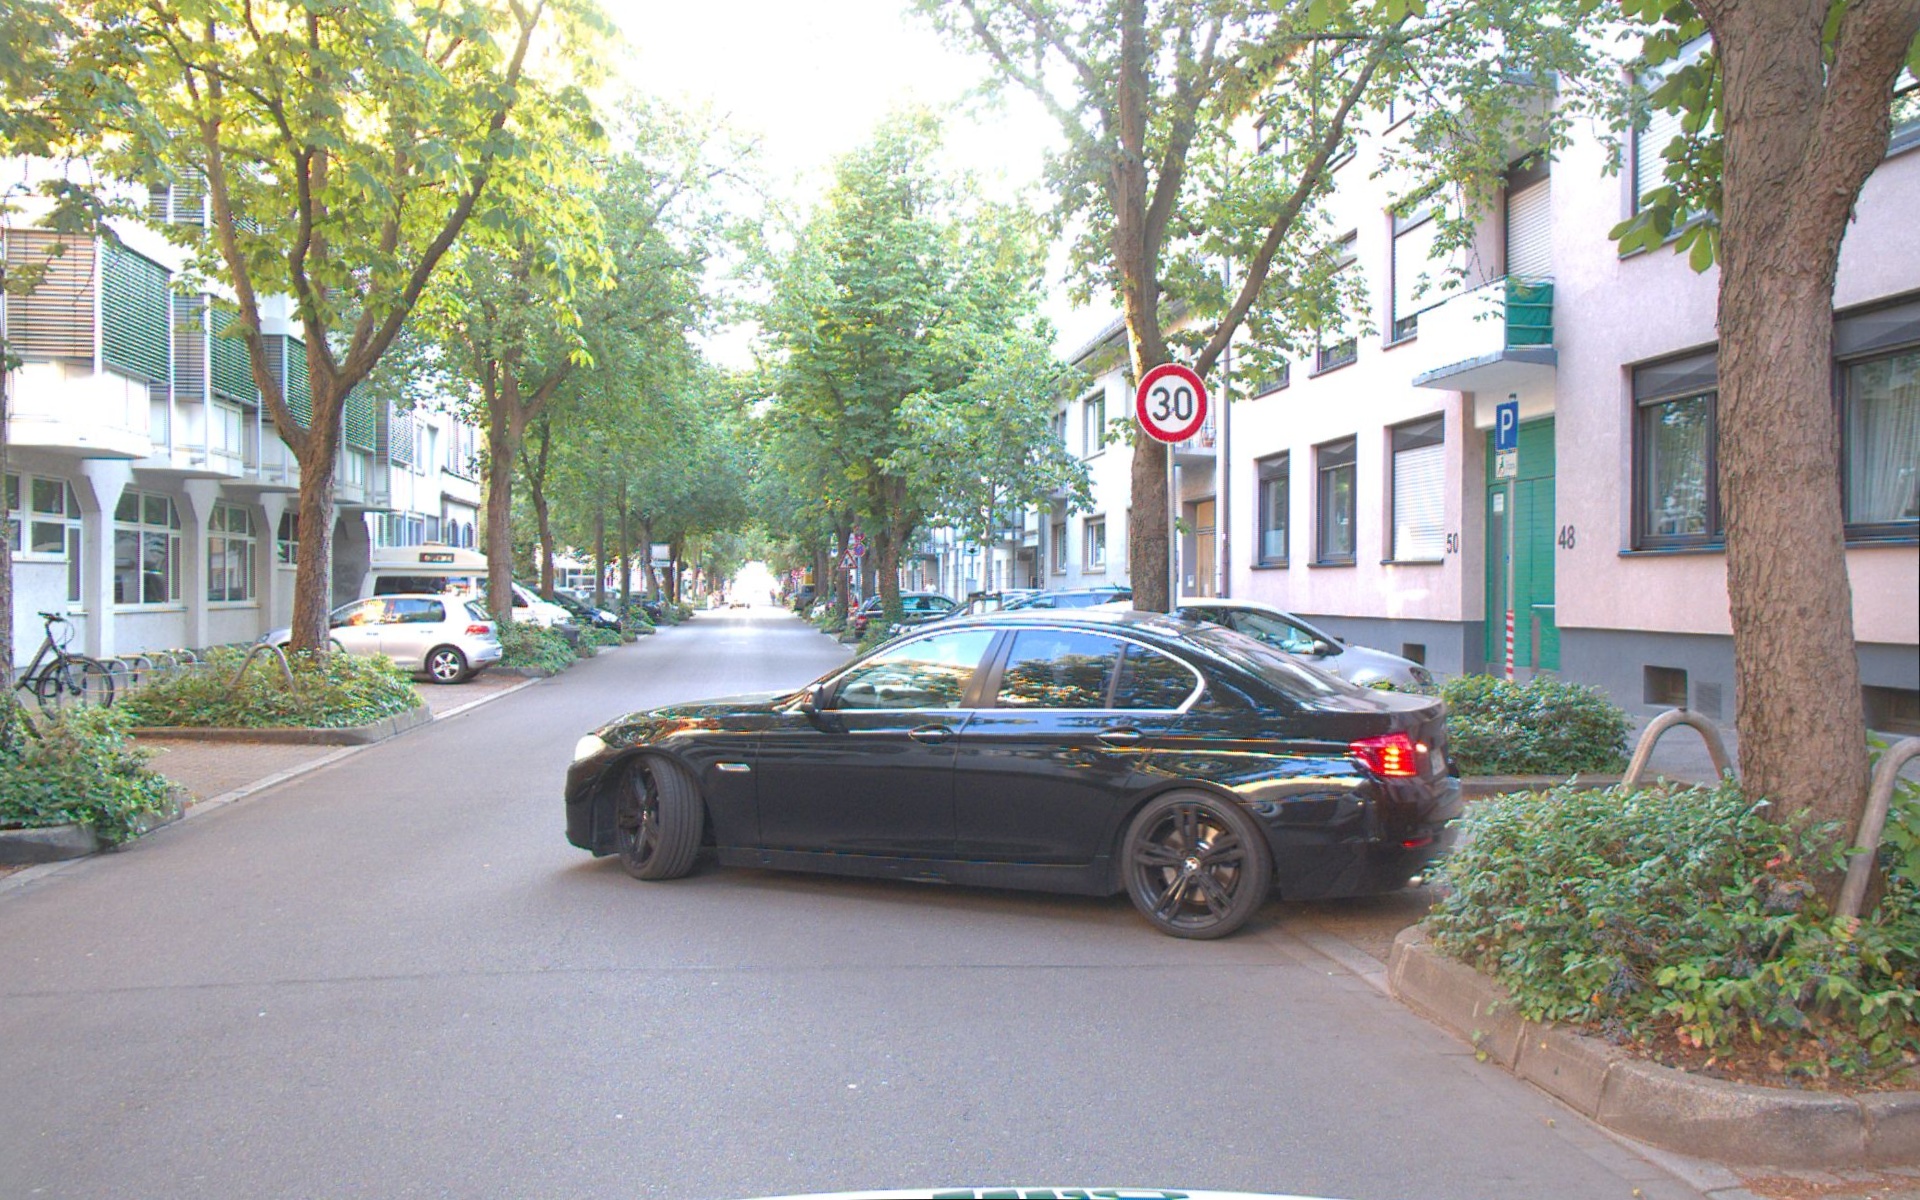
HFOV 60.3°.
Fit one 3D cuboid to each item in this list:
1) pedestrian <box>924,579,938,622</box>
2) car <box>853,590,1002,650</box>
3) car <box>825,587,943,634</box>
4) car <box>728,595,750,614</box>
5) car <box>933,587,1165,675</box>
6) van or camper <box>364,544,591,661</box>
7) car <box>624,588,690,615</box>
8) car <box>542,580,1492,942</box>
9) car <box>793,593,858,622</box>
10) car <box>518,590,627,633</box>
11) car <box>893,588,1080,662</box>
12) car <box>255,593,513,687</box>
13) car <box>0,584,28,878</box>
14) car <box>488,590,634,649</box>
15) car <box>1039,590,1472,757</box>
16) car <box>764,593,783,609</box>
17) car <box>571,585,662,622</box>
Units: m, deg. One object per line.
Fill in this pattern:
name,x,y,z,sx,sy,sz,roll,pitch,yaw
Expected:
pedestrian,-1.384,0.004,78.856,0.577,2.049,0.669,0,0,-6
car,-0.911,0.525,44.937,3.893,1.554,1.782,0,0,-8
car,-2.631,0.351,56.777,3.894,1.554,1.782,0,0,-9
car,-18.680,0.388,139.817,1.745,1.589,4.162,0,0,-6
car,1.564,0.529,29.706,3.894,1.502,1.781,0,0,-9
van or camper,-10.675,0.047,36.880,4.575,2.521,1.997,0,0,-7
car,-18.775,0.084,102.534,3.891,1.647,1.783,0,0,-6
car,0.264,0.662,8.655,4.650,1.506,1.799,0,0,24
car,-8.170,0.447,100.643,3.891,1.713,1.783,0,0,-6
car,-15.014,0.428,64.271,3.891,1.647,1.783,0,0,-6
car,0.541,0.518,36.148,3.893,1.554,1.782,0,0,-8
car,-9.865,0.664,28.578,3.892,1.544,1.783,0,0,-6
car,-7.106,0.703,7.866,4.272,1.544,1.782,0,0,-7
car,-11.494,0.554,47.858,3.892,1.647,1.783,0,0,-6
car,2.811,0.661,16.107,3.836,1.502,1.661,0,0,-9
car,-18.540,0.086,164.641,1.787,1.557,3.995,-1,0,-6
car,-15.745,0.152,75.923,3.891,1.647,1.783,0,0,-6
